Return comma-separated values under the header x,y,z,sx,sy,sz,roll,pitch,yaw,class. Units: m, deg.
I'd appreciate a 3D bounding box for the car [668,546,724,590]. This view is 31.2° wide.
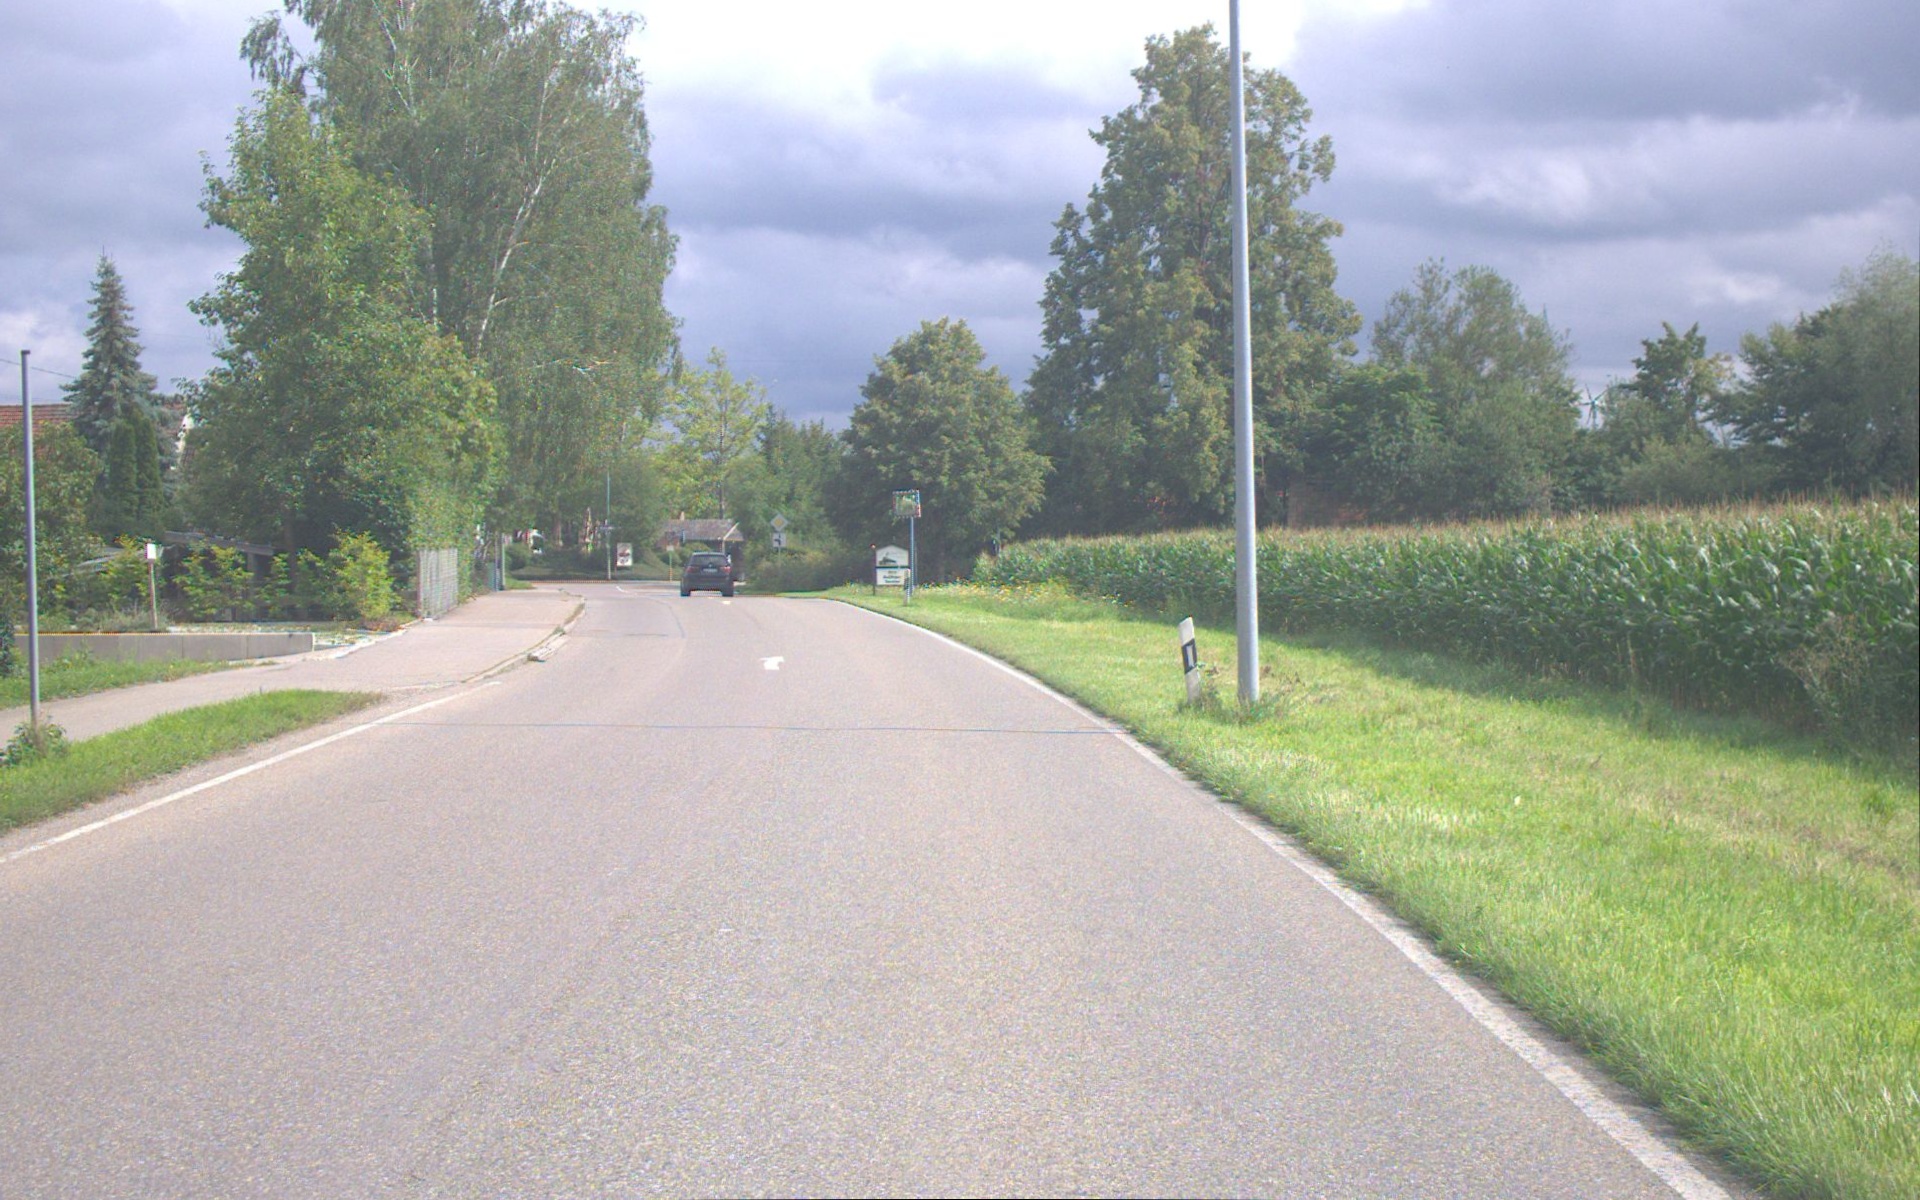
x,y,z,sx,sy,sz,roll,pitch,yaw,class
-9.998,-1.210,129.923,1.993,1.579,4.001,1,0,-6,car
